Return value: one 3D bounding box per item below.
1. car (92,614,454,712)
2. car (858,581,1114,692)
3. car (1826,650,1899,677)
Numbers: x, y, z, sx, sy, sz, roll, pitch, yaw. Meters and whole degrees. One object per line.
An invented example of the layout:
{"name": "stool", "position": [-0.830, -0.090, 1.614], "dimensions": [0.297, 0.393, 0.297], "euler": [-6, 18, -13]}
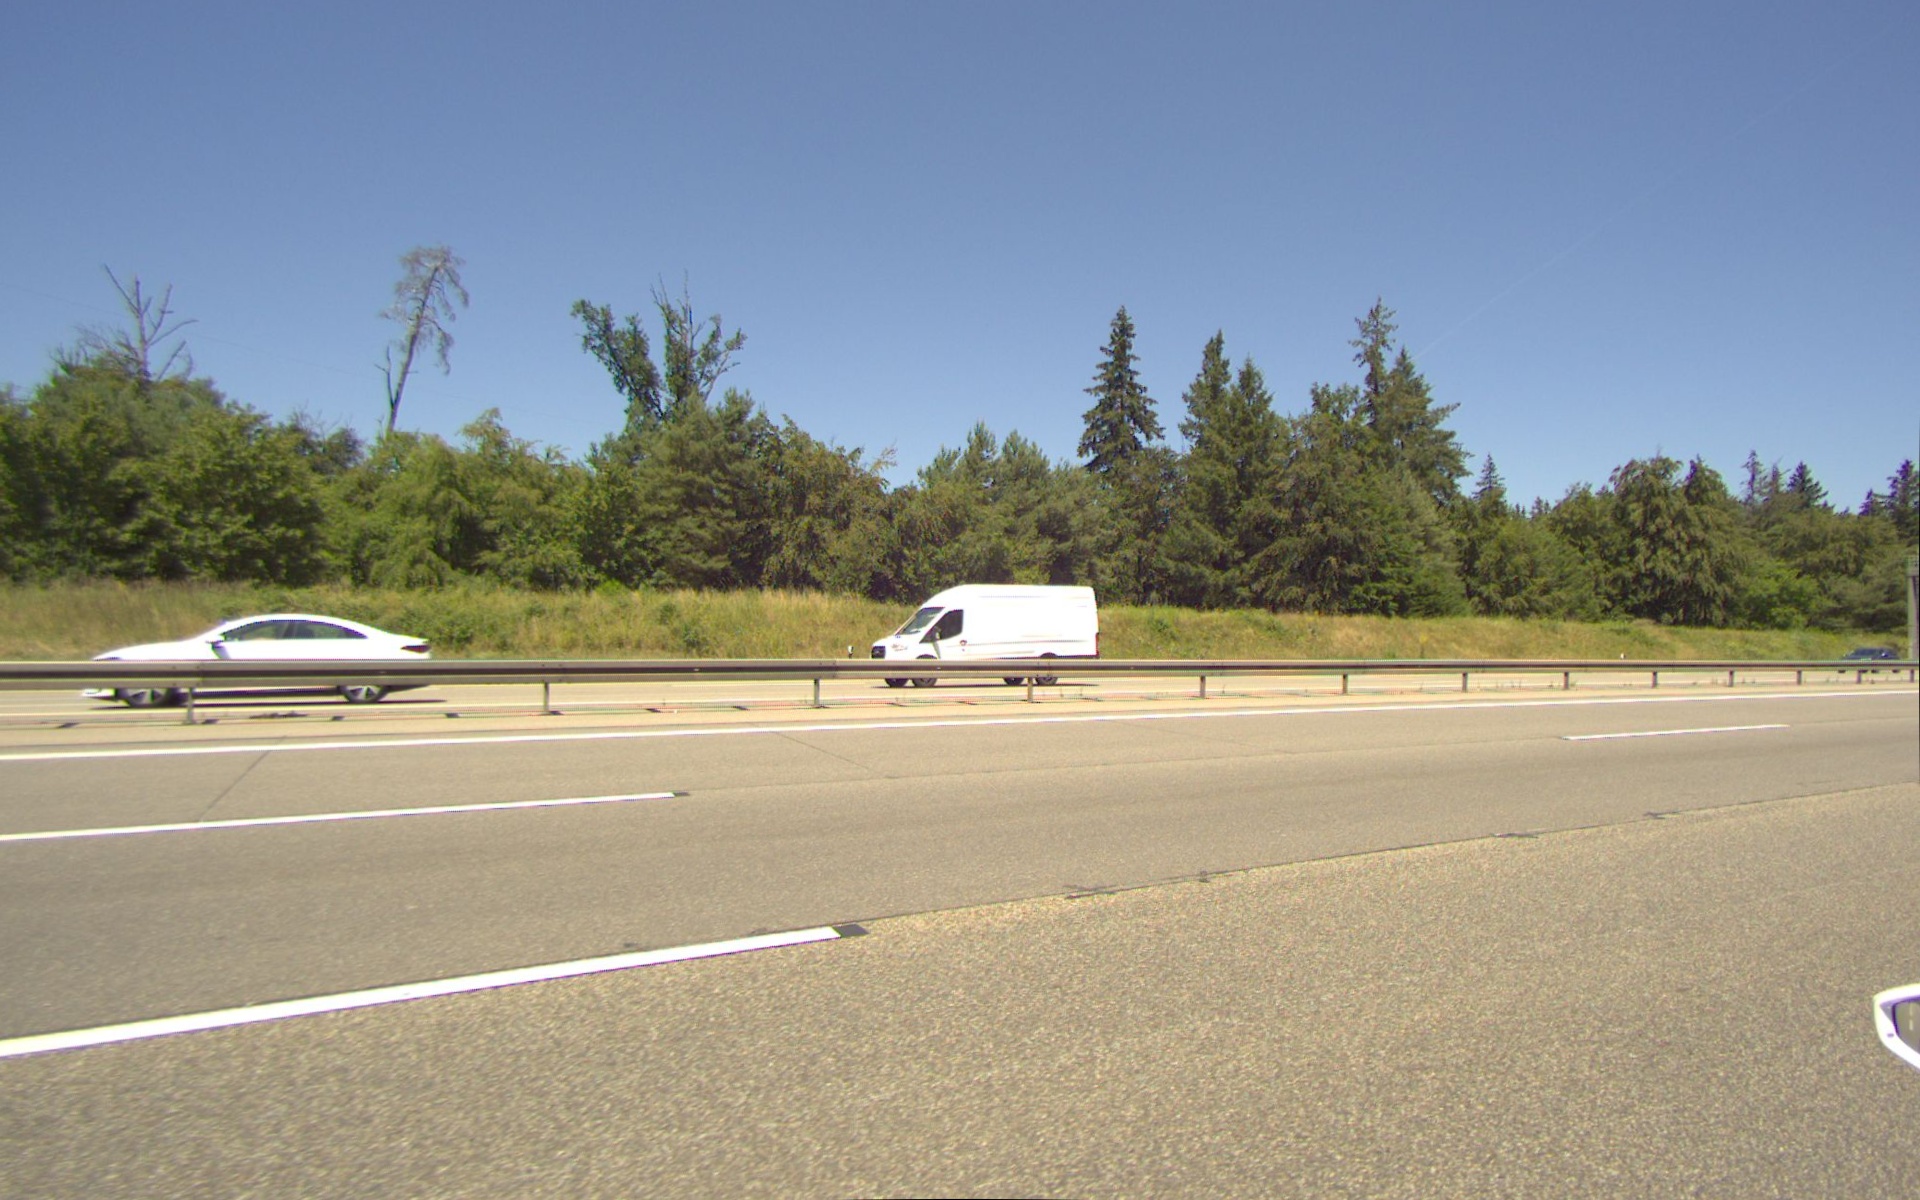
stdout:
{"name": "car", "position": [-10.850, 1.016, 16.337], "dimensions": [4.617, 1.410, 1.685], "euler": [2, -3, -28]}
{"name": "car", "position": [0.787, 1.051, 27.559], "dimensions": [6.788, 2.746, 2.334], "euler": [2, -3, -28]}
{"name": "car", "position": [53.914, 3.768, 59.992], "dimensions": [4.686, 1.529, 1.819], "euler": [2, -2, -29]}
